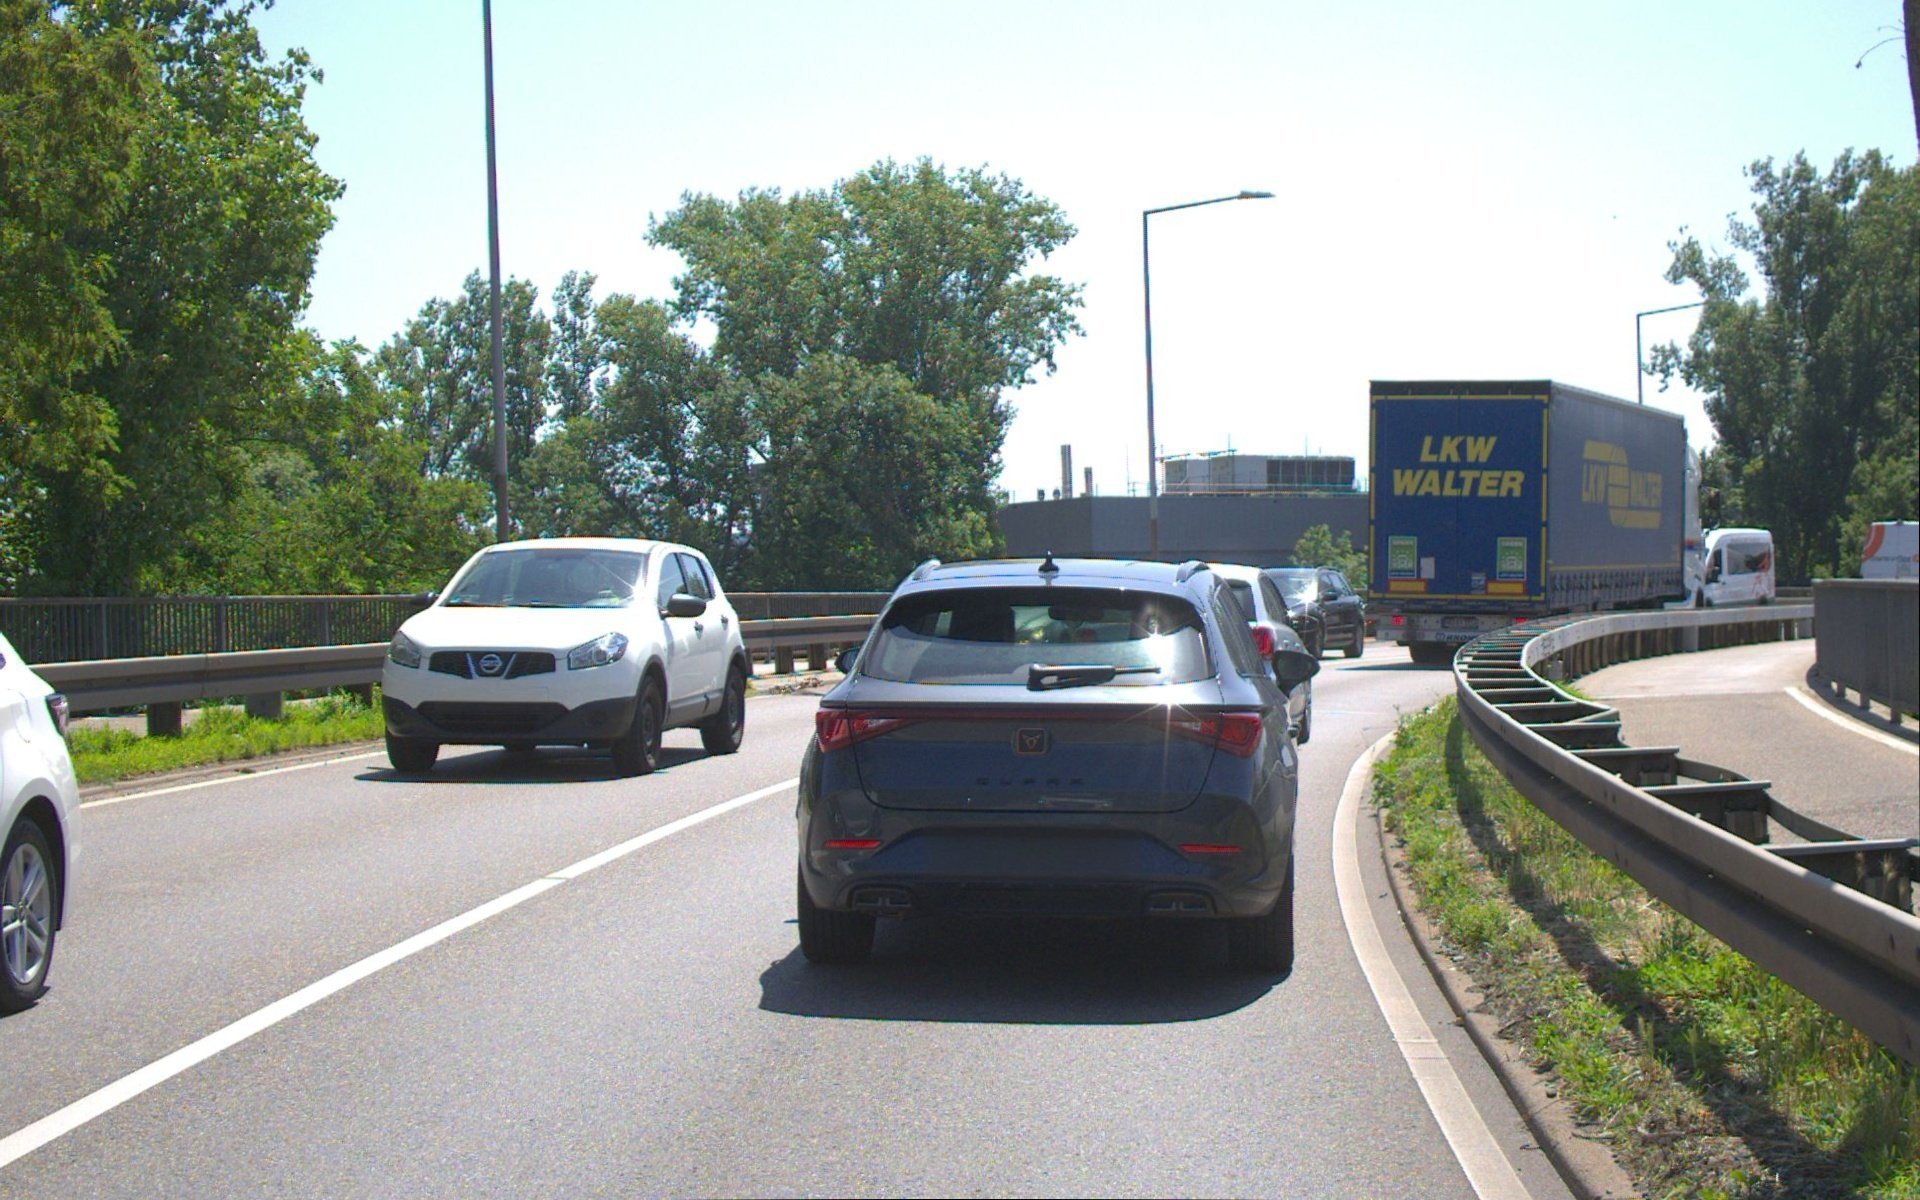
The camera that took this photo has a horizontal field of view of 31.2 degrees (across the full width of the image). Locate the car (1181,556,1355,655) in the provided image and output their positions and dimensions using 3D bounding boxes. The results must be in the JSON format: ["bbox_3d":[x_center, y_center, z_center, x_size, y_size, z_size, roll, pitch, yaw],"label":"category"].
[{"bbox_3d":[4.793,0.064,53.003,1.758,1.437,4.564,1,0,17],"label":"car"}]

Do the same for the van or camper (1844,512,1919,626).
[{"bbox_3d":[23.576,-0.763,83.856,2.207,2.702,5.915,1,1,32],"label":"van or camper"}]

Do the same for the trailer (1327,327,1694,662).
[{"bbox_3d":[8.916,-1.498,53.852,3.137,4.598,12.934,2,1,20],"label":"trailer"}]

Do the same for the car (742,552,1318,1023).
[{"bbox_3d":[0.373,0.575,12.963,1.846,1.493,3.757,1,1,5],"label":"car"}]

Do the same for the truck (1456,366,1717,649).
[{"bbox_3d":[10.935,-1.508,59.402,3.173,4.569,7.389,1,0,20],"label":"truck"}]

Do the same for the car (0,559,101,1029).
[{"bbox_3d":[-3.866,0.601,9.365,1.701,1.442,4.459,1,1,3],"label":"car"}]

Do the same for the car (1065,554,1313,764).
[{"bbox_3d":[1.820,0.409,26.434,1.593,1.456,3.543,2,1,8],"label":"car"}]

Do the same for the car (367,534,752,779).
[{"bbox_3d":[-2.693,0.333,24.104,1.746,1.541,4.392,1,1,6],"label":"car"}]

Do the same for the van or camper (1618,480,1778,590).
[{"bbox_3d":[17.701,-1.533,82.243,2.051,2.529,5.874,0,1,30],"label":"van or camper"}]

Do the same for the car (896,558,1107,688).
[{"bbox_3d":[0.539,0.226,40.220,1.717,1.423,4.105,1,1,12],"label":"car"}]
